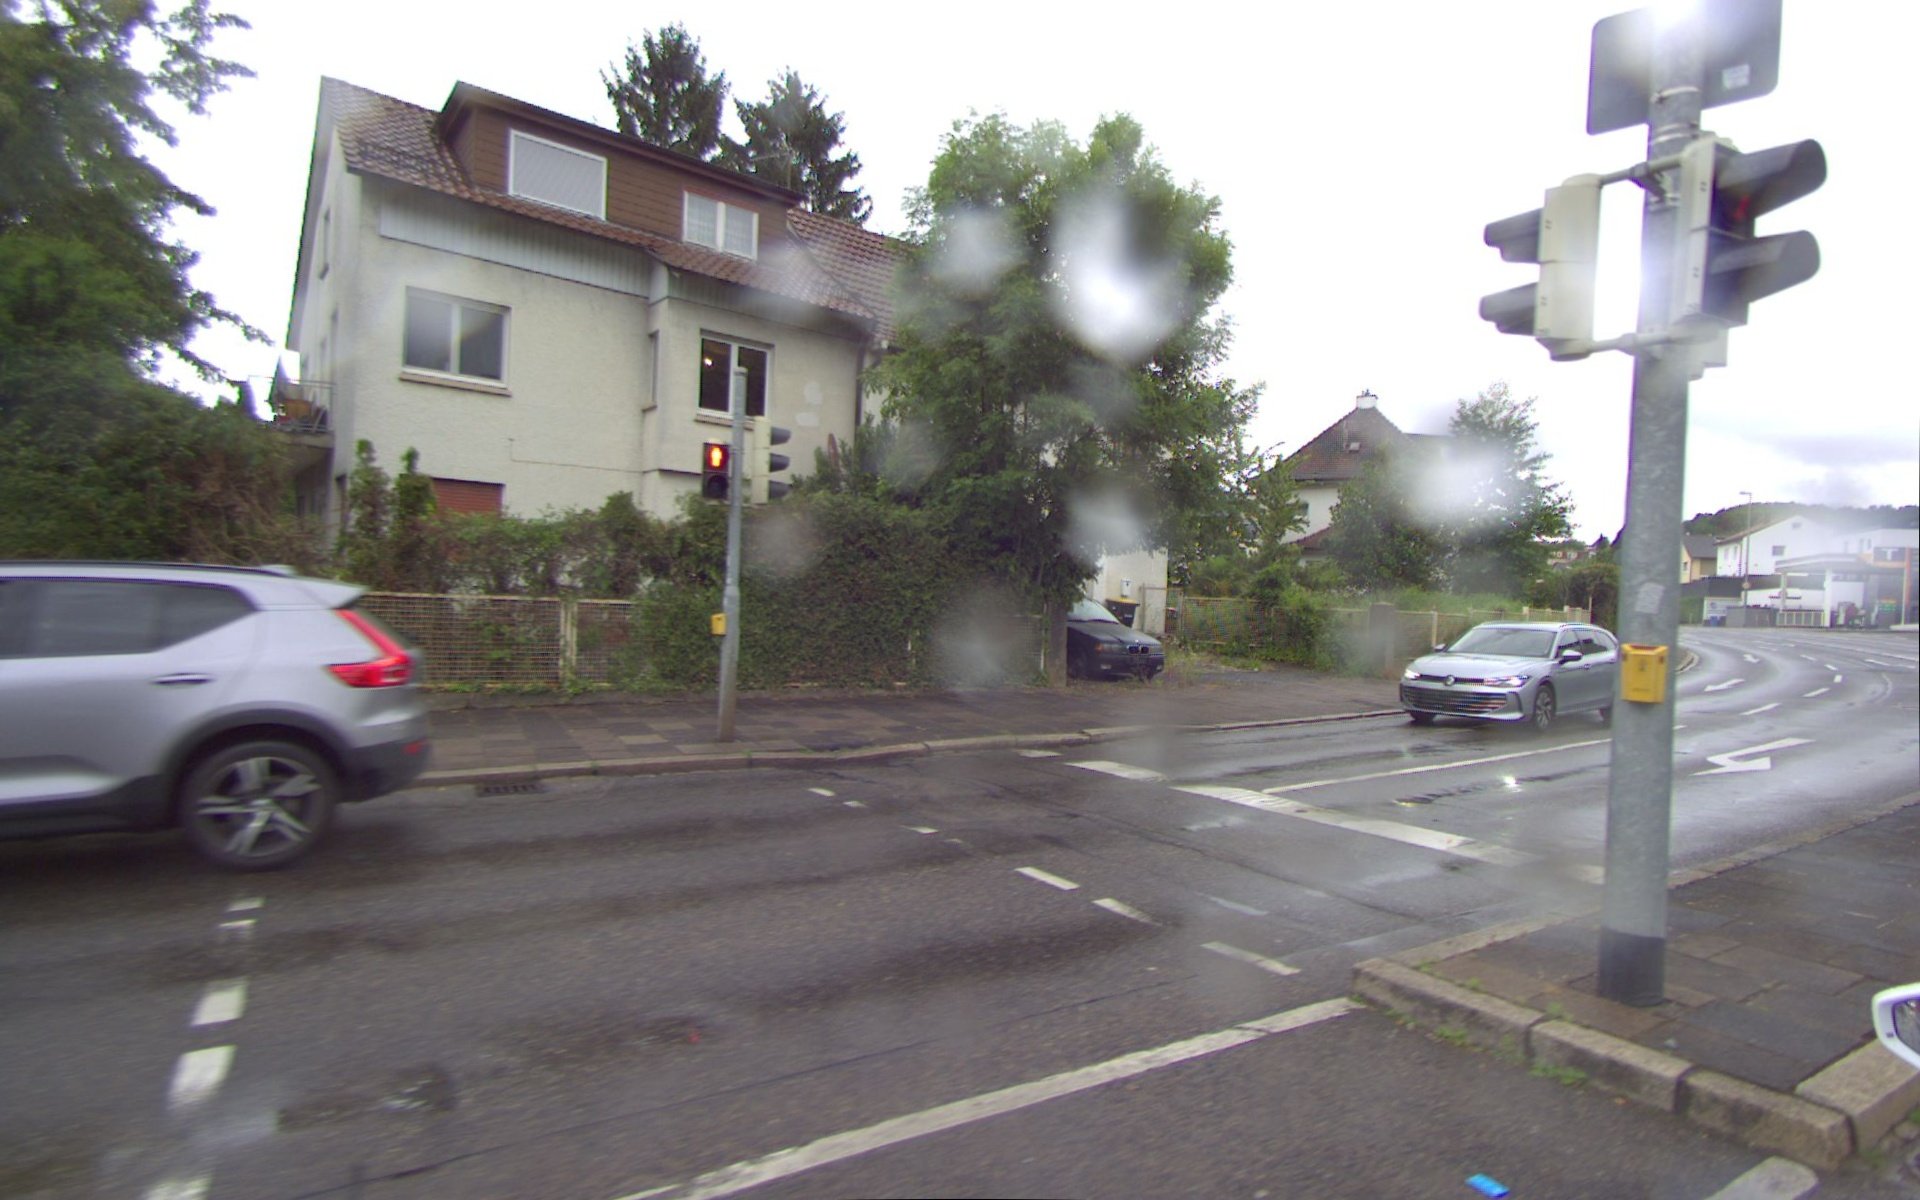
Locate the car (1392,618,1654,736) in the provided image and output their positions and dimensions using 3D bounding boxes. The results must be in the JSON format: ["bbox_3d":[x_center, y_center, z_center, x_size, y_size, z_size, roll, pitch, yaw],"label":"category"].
[{"bbox_3d":[8.436,1.079,14.878,4.646,1.469,1.663,3,-1,-37],"label":"car"}]

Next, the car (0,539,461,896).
[{"bbox_3d":[-5.168,0.552,5.517,4.184,1.700,1.873,3,-1,-31],"label":"car"}]

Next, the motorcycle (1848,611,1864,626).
[{"bbox_3d":[63.877,1.309,71.651,0.455,1.069,1.389,2,-1,25],"label":"motorcycle"}]

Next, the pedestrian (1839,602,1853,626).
[{"bbox_3d":[63.539,1.021,72.051,0.600,1.678,0.585,2,-1,26],"label":"pedestrian"}]

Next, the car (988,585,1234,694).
[{"bbox_3d":[2.551,0.609,17.714,1.917,1.413,3.952,1,4,-40],"label":"car"}]

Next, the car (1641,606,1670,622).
[{"bbox_3d":[73.456,1.524,106.095,1.673,1.530,4.532,2,-1,24],"label":"car"}]
